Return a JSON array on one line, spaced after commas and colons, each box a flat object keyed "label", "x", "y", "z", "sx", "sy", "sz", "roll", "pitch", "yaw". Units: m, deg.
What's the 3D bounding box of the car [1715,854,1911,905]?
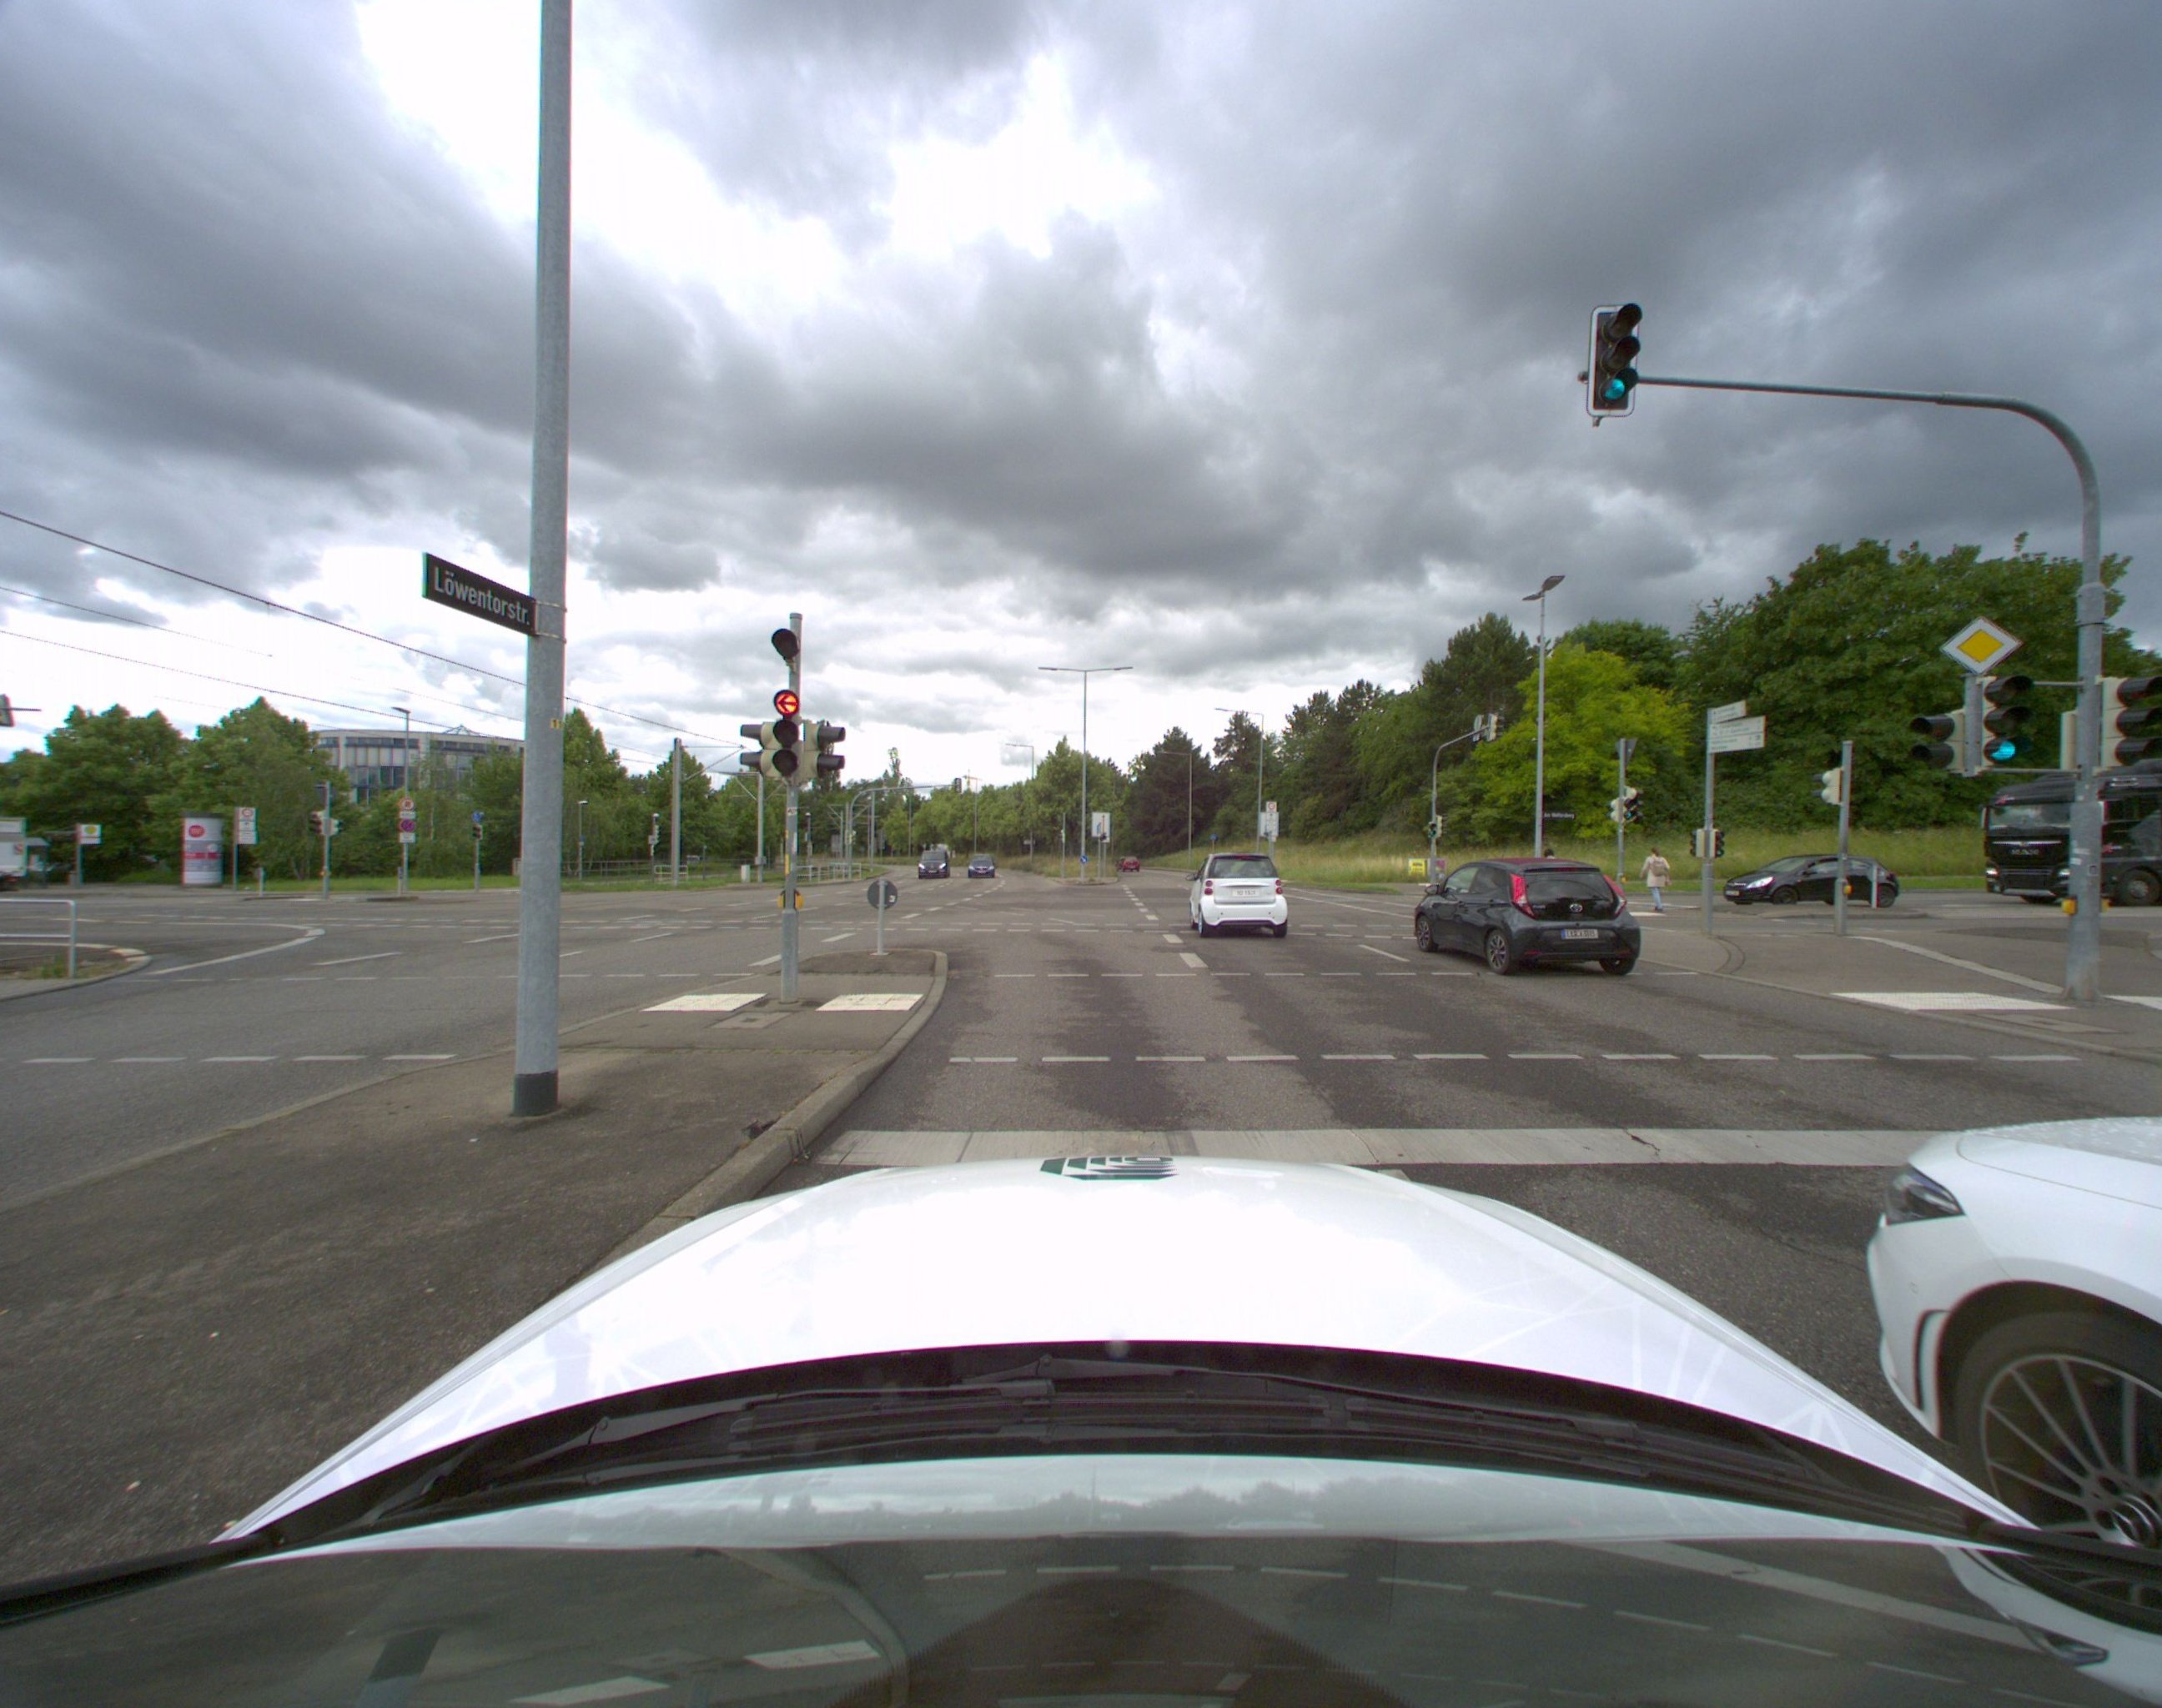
[{"label": "car", "x": 20.341, "y": 0.693, "z": 22.750, "sx": 3.859, "sy": 1.338, "sz": 1.698, "roll": 0, "pitch": -1, "yaw": 4}]

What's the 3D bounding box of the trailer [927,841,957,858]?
[{"label": "trailer", "x": -24.462, "y": -0.745, "z": 143.064, "sx": 2.768, "sy": 3.012, "sz": 6.018, "roll": 0, "pitch": -1, "yaw": -37}]

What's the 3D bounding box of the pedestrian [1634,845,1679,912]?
[{"label": "pedestrian", "x": 14.103, "y": 0.587, "z": 19.976, "sx": 0.640, "sy": 1.612, "sz": 0.715, "roll": 0, "pitch": -1, "yaw": 7}]

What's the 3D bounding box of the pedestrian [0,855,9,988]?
[{"label": "pedestrian", "x": -12.782, "y": 0.778, "z": 9.091, "sx": 0.632, "sy": 1.536, "sz": 0.719, "roll": 0, "pitch": -1, "yaw": -2}]

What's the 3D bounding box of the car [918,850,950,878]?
[{"label": "car", "x": -9.994, "y": 0.674, "z": 55.621, "sx": 1.886, "sy": 1.812, "sz": 5.079, "roll": -1, "pitch": 0, "yaw": -7}]

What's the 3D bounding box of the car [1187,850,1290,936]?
[{"label": "car", "x": 2.975, "y": 0.697, "z": 15.818, "sx": 1.585, "sy": 1.516, "sz": 2.768, "roll": 0, "pitch": -1, "yaw": 3}]

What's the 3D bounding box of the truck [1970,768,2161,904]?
[{"label": "truck", "x": 28.884, "y": -0.494, "z": 22.248, "sx": 5.971, "sy": 3.486, "sz": 2.694, "roll": -1, "pitch": -1, "yaw": 4}]

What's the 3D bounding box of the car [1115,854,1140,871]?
[{"label": "car", "x": 4.582, "y": 0.858, "z": 80.367, "sx": 1.783, "sy": 1.603, "sz": 3.877, "roll": 0, "pitch": -1, "yaw": -7}]

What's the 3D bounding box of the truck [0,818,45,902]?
[{"label": "truck", "x": -49.922, "y": 0.282, "z": 34.701, "sx": 9.197, "sy": 3.532, "sz": 3.024, "roll": 0, "pitch": 0, "yaw": 9}]

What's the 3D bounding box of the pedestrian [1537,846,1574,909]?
[{"label": "pedestrian", "x": 12.850, "y": 0.636, "z": 22.074, "sx": 0.640, "sy": 1.662, "sz": 0.715, "roll": 0, "pitch": -1, "yaw": 8}]

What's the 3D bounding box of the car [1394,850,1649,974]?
[{"label": "car", "x": 5.924, "y": 0.703, "z": 11.518, "sx": 1.607, "sy": 1.453, "sz": 3.883, "roll": 0, "pitch": -1, "yaw": 2}]

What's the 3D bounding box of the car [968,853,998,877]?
[{"label": "car", "x": -6.557, "y": 0.728, "z": 55.008, "sx": 1.732, "sy": 1.508, "sz": 3.656, "roll": 0, "pitch": -1, "yaw": -3}]
